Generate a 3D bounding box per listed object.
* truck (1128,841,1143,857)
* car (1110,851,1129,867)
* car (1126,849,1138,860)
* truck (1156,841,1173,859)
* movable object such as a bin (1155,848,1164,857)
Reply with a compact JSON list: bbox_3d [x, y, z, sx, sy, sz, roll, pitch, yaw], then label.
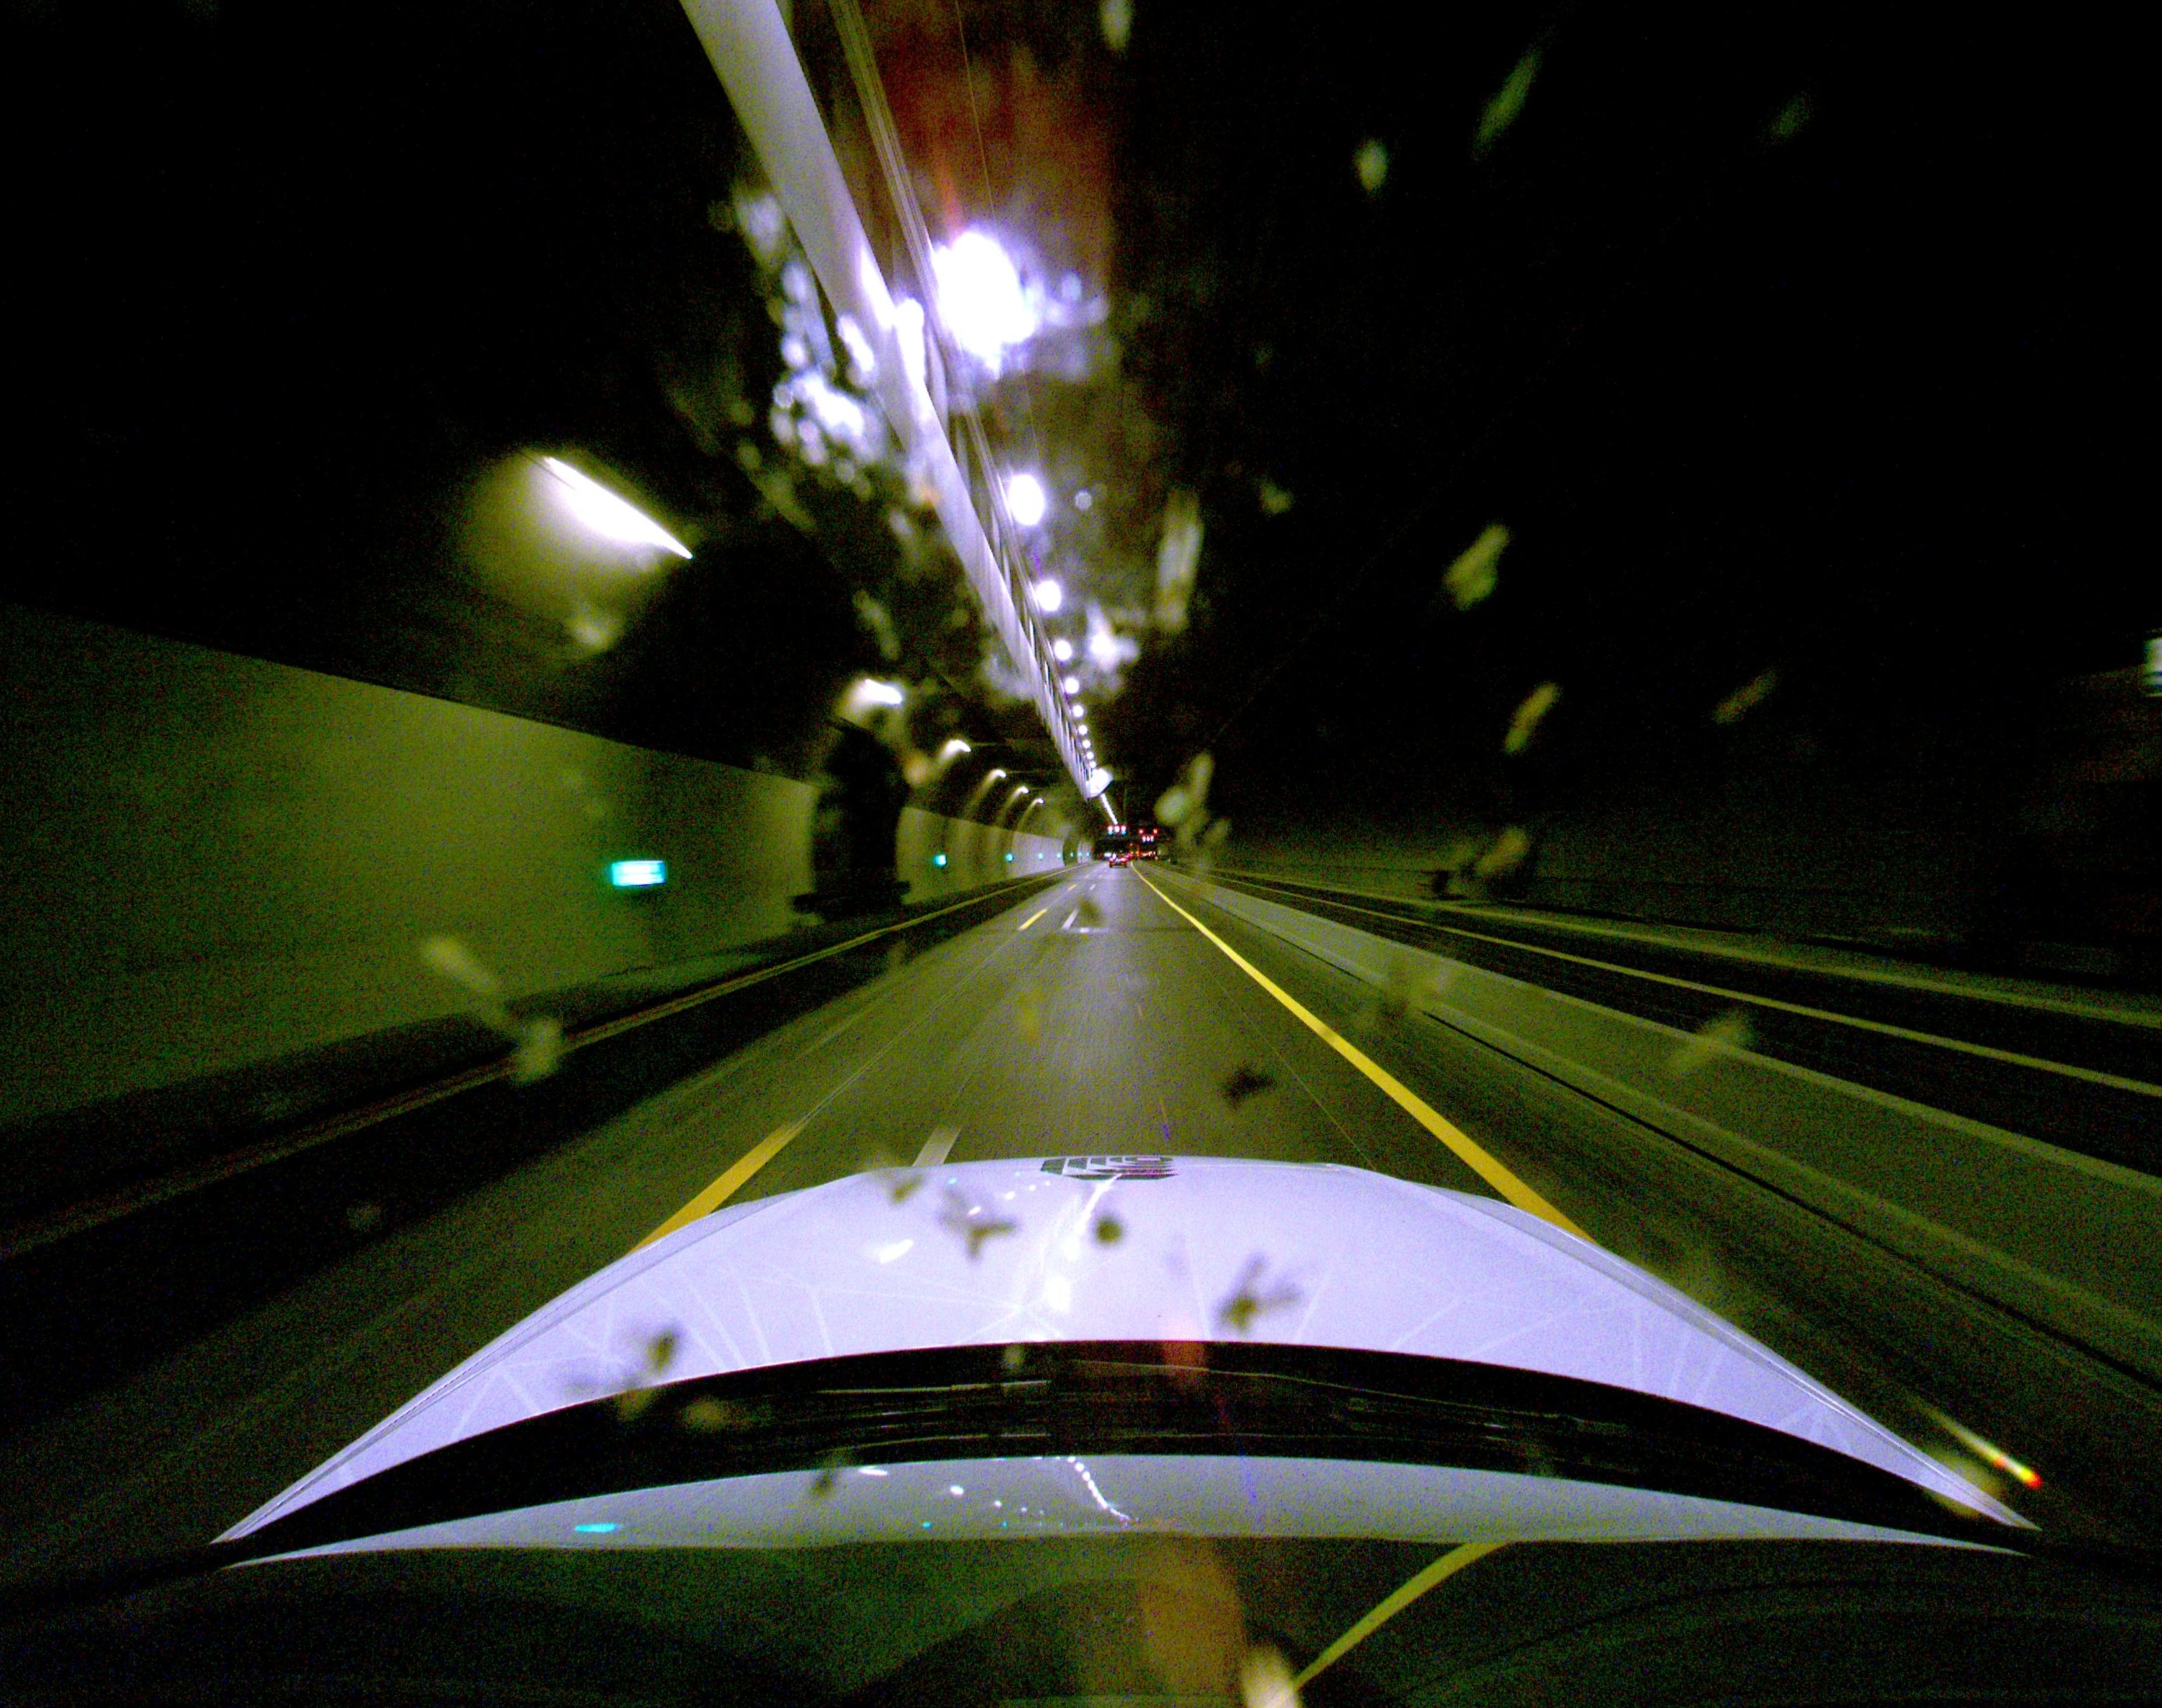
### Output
[{"bbox_3d":[16.755,-1.507,251.731,4.527,4.987,9.607,-2,0,3],"label":"truck"},{"bbox_3d":[4.069,0.514,87.542,1.881,1.607,4.000,-2,0,1],"label":"car"},{"bbox_3d":[9.540,0.031,151.771,1.986,2.013,4.001,-1,0,1],"label":"car"},{"bbox_3d":[15.817,-0.795,154.822,2.880,3.272,8.409,-2,0,4],"label":"truck"},{"bbox_3d":[18.111,-0.336,187.986,1.970,1.816,3.840,-2,0,3],"label":"movable object such as a bin"}]
